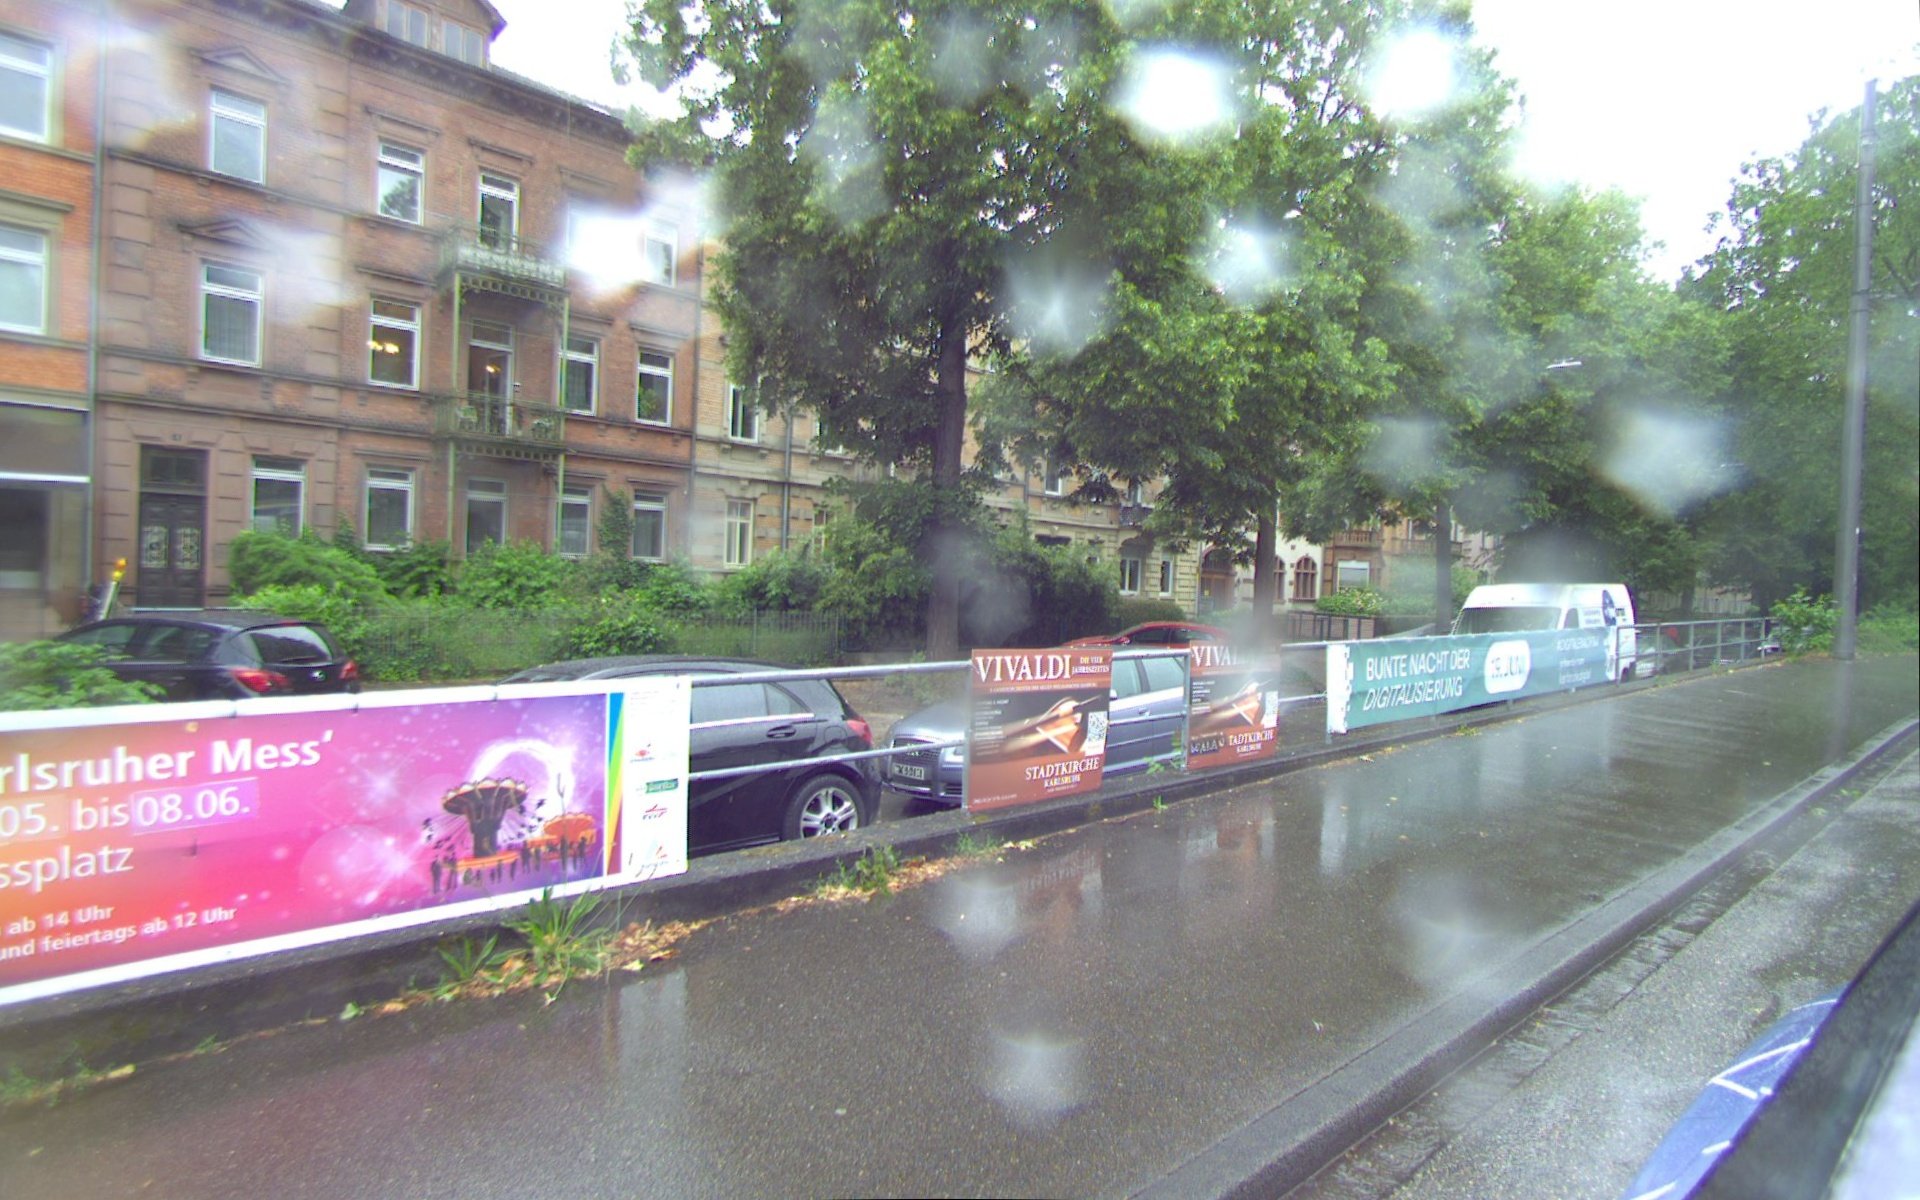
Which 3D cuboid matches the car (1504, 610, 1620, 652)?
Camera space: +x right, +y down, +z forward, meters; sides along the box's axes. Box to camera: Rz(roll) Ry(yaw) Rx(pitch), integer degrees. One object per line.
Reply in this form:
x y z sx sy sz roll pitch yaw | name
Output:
25.596 1.289 43.174 3.948 1.629 1.815 1 1 19 | car

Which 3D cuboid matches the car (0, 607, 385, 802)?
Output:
-8.591 0.983 11.199 3.958 1.735 1.983 1 1 25 | car

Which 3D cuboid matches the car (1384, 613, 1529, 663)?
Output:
16.516 1.237 33.893 4.214 1.397 1.679 2 2 22 | car

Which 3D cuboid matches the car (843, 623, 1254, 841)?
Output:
0.999 1.060 9.779 4.006 1.559 1.734 0 0 -43 | car

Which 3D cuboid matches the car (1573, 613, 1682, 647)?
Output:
32.077 1.427 48.731 3.942 1.482 1.904 0 1 15 | car

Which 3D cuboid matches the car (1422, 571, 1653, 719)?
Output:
11.368 0.730 19.669 6.055 2.451 2.211 0 0 -43 | car

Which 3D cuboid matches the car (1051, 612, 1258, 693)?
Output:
4.394 1.115 22.733 4.372 1.471 1.888 2 1 18 | car

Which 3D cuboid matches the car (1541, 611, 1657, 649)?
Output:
28.503 1.310 45.290 3.942 1.585 1.991 0 1 15 | car

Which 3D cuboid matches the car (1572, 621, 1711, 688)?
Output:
16.587 1.244 24.557 4.312 1.370 1.968 0 0 -44 | car

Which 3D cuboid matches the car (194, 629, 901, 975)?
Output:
-2.440 0.970 6.525 3.903 1.417 1.706 0 1 -41 | car
